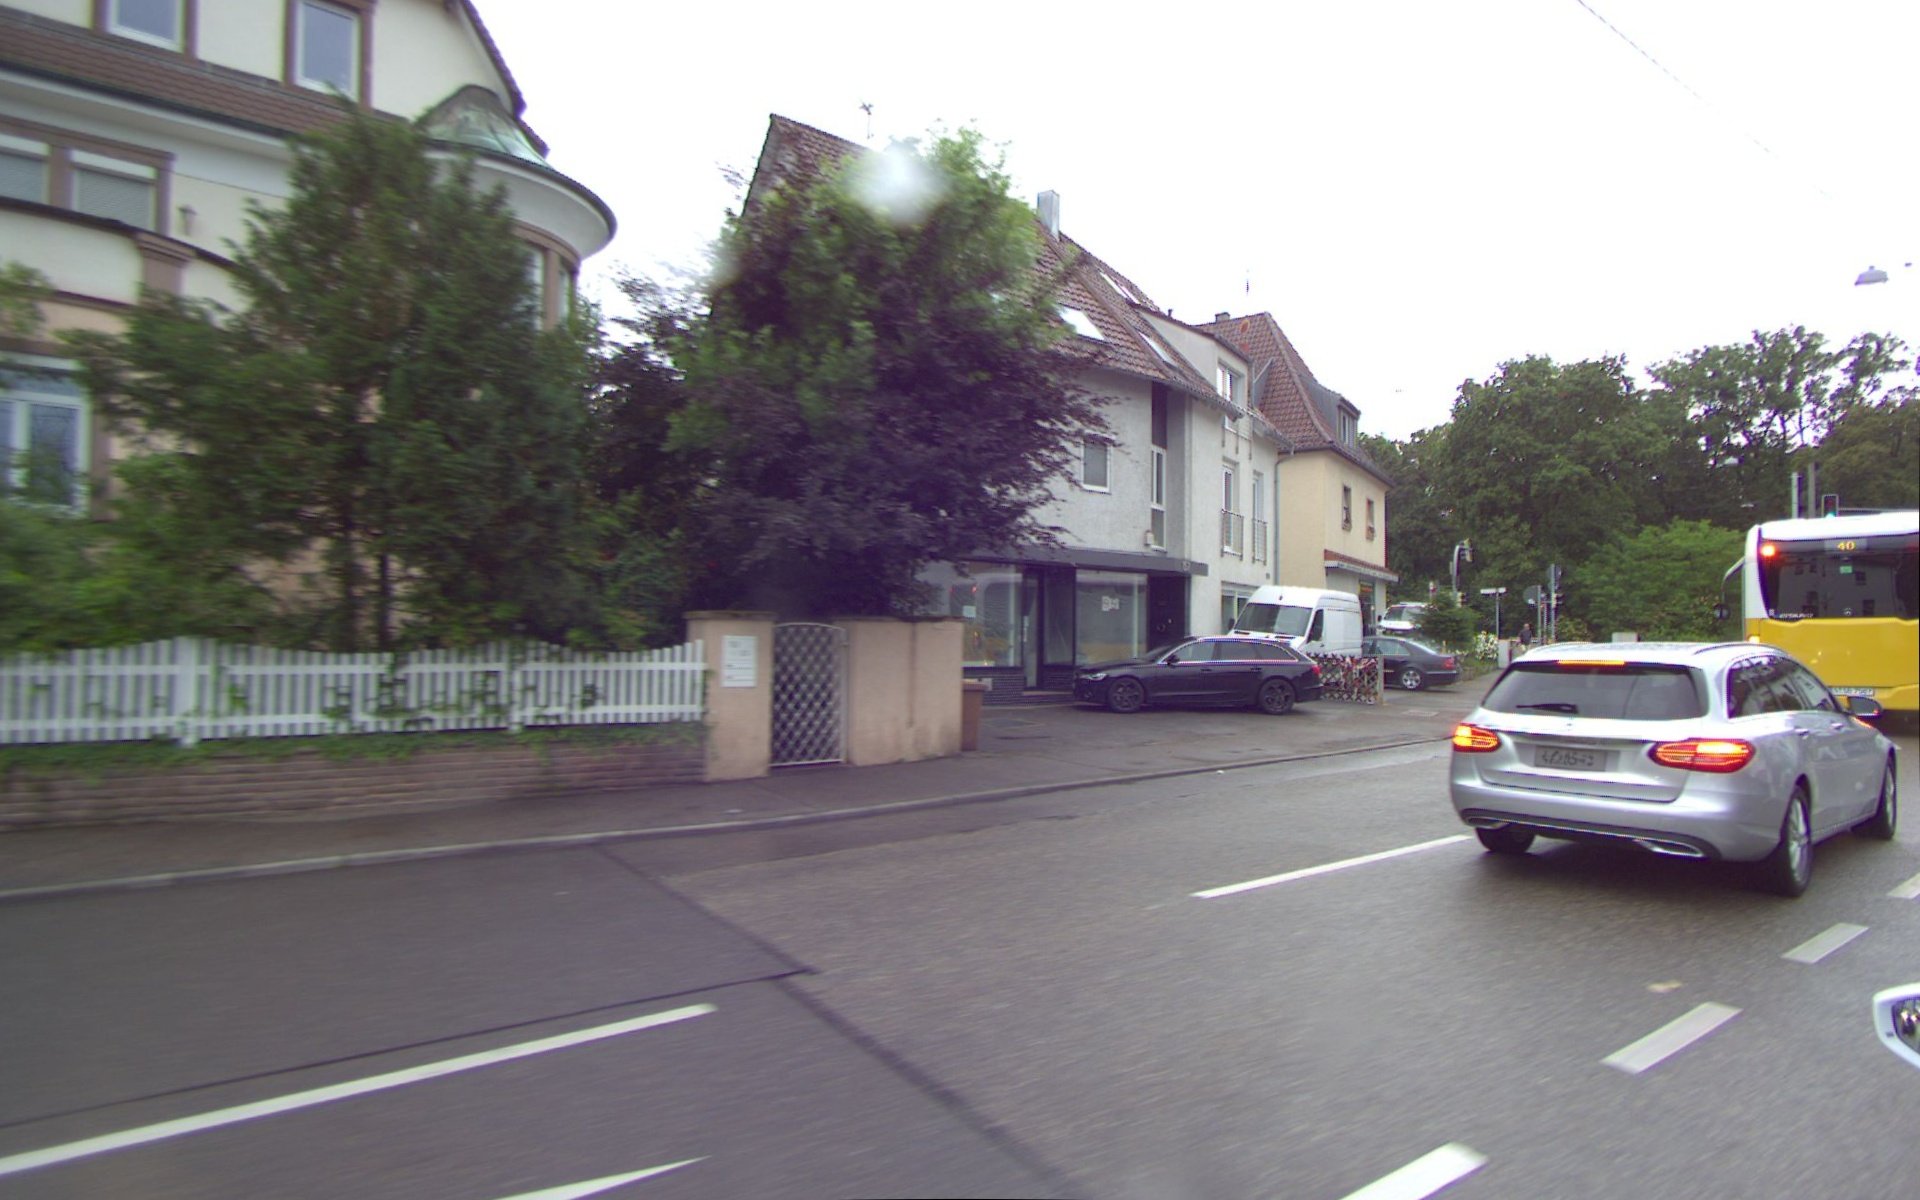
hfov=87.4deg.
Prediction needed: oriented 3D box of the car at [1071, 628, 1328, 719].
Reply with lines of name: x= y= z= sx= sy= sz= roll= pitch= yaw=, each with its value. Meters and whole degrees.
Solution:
car: x=4.571 y=1.400 z=19.701 sx=4.590 sy=1.515 sz=1.804 roll=1 pitch=0 yaw=1

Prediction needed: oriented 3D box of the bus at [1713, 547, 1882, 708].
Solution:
bus: x=21.327 y=0.699 z=26.000 sx=2.863 sy=3.443 sz=9.005 roll=-1 pitch=-2 yaw=37

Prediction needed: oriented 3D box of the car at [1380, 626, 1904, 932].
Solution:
car: x=5.093 y=0.956 z=7.255 sx=4.448 sy=1.499 sz=1.977 roll=1 pitch=-1 yaw=-40

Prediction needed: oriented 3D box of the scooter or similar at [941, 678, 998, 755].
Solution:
scooter or similar: x=0.118 y=1.559 z=13.521 sx=0.583 sy=0.978 sz=0.542 roll=3 pitch=-2 yaw=-20

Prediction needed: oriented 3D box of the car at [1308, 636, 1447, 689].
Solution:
car: x=12.676 y=1.855 z=30.504 sx=3.759 sy=1.362 sz=1.802 roll=2 pitch=0 yaw=26

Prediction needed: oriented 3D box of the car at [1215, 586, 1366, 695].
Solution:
car: x=8.530 y=0.976 z=25.560 sx=1.968 sy=2.480 sz=5.473 roll=1 pitch=-1 yaw=37

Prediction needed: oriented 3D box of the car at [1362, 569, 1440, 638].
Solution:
car: x=17.116 y=0.191 z=38.834 sx=1.965 sy=2.480 sz=5.481 roll=1 pitch=-1 yaw=32

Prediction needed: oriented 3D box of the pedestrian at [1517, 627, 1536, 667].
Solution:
pedestrian: x=24.132 y=1.999 z=42.824 sx=0.587 sy=1.639 sz=0.434 roll=1 pitch=0 yaw=15

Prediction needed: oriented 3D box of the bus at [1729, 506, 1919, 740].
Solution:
bus: x=16.094 y=0.442 z=18.737 sx=2.643 sy=3.443 sz=8.647 roll=-1 pitch=-2 yaw=37
